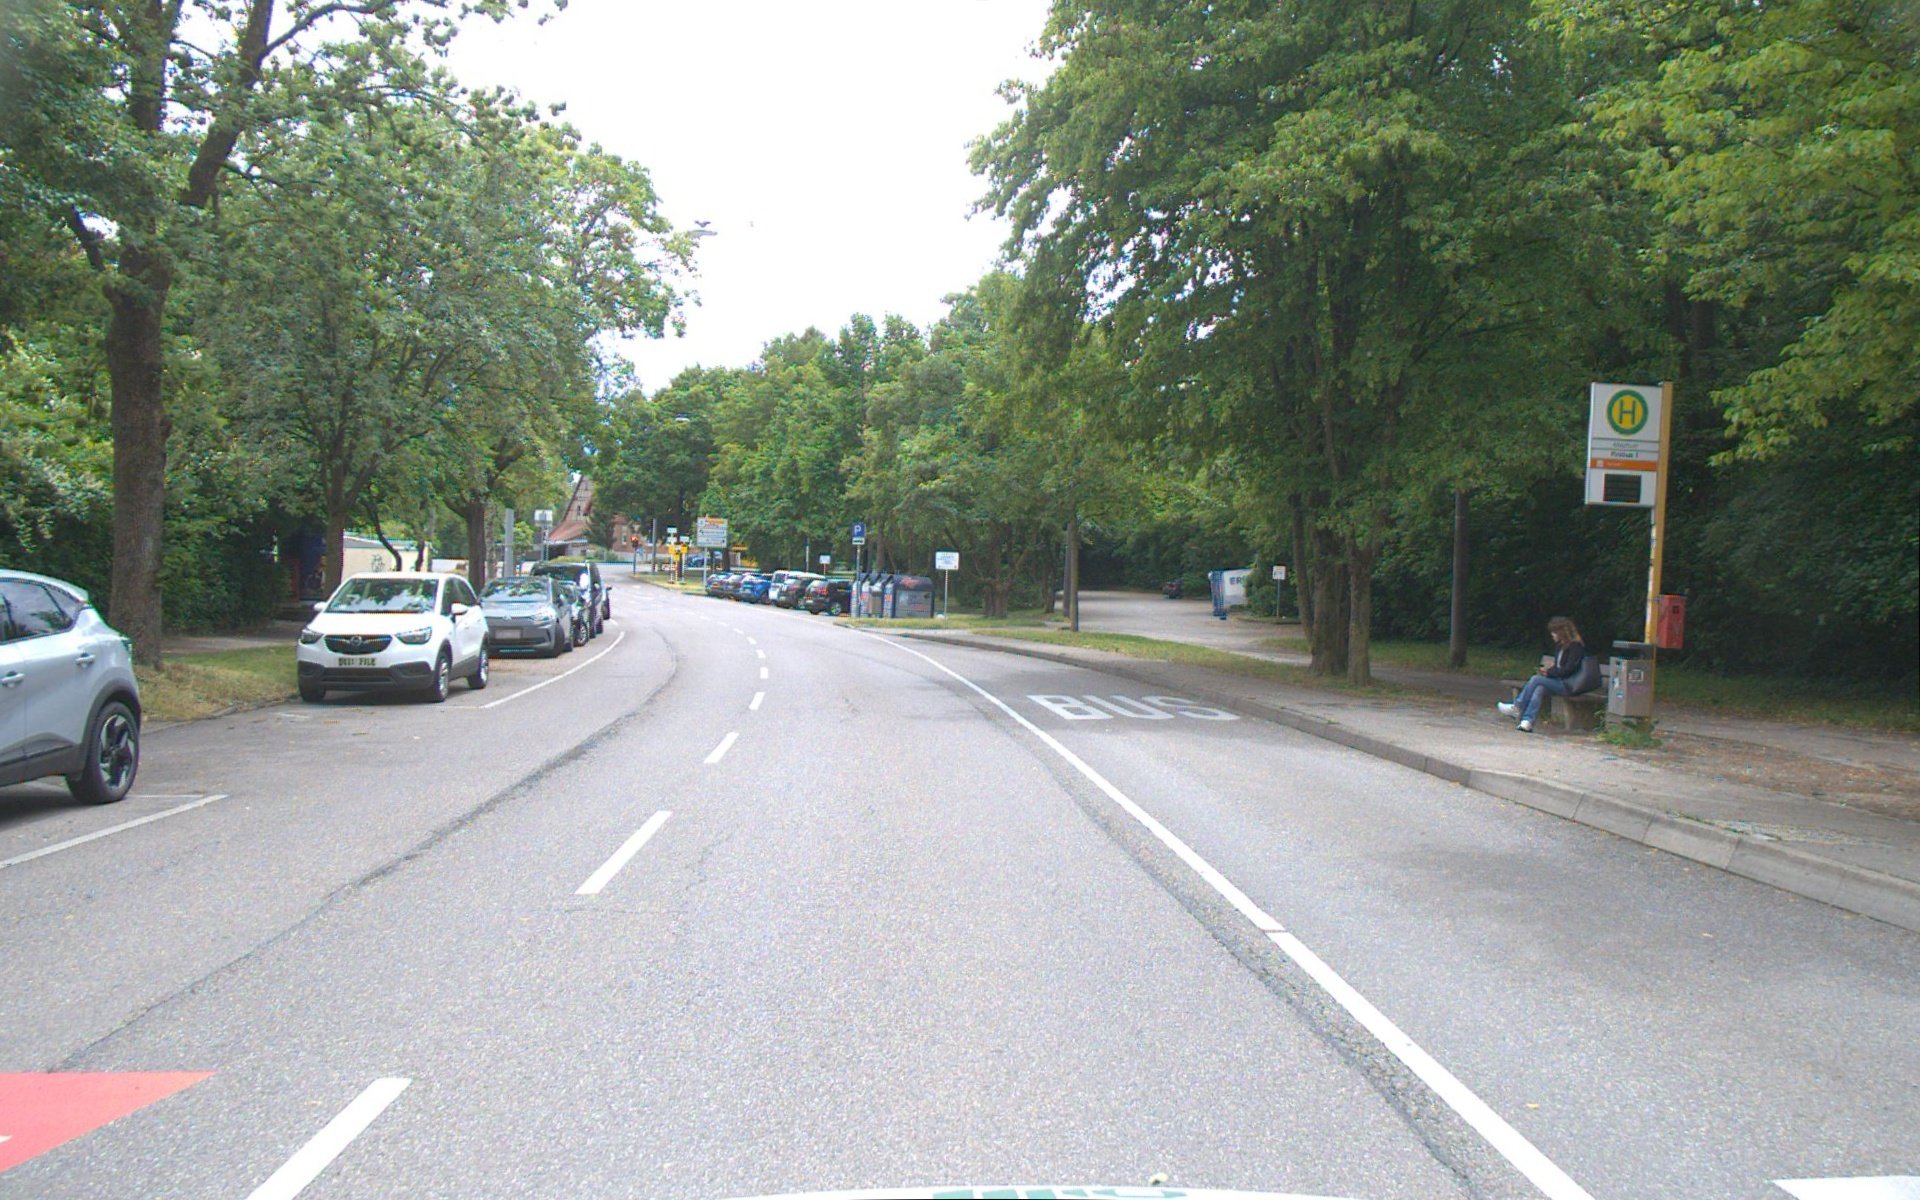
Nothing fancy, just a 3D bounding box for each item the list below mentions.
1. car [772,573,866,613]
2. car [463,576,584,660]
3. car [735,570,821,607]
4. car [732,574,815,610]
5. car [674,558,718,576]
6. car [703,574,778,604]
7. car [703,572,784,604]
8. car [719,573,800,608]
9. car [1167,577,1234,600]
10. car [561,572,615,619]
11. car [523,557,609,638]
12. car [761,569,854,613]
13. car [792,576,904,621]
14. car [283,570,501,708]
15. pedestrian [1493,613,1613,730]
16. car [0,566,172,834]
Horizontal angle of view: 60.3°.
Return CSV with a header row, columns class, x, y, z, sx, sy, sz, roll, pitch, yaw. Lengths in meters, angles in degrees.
class,x,y,z,sx,sy,sz,roll,pitch,yaw
car,-6.290,-0.300,74.028,3.787,1.493,1.725,4,0,-36
car,-8.679,0.318,33.189,1.831,1.565,4.220,1,1,-8
car,-8.904,-0.567,80.980,3.787,1.555,1.725,4,-1,-36
car,-9.432,-0.385,83.862,3.787,1.555,1.725,4,-1,-36
car,-26.133,-3.266,163.486,3.817,1.676,1.974,0,2,-37
car,-12.375,-0.612,93.351,3.787,1.450,1.725,4,-1,-36
car,-11.595,-0.655,88.613,3.841,1.451,1.808,4,-1,-36
car,-10.379,-0.497,85.694,3.787,1.555,1.725,4,-1,-36
car,15.707,-0.752,108.097,3.915,1.434,1.796,1,1,-10
car,-13.434,-0.182,59.594,1.774,1.590,4.251,-2,1,-14
car,-10.199,-0.093,43.080,1.824,1.942,5.071,1,1,-10
car,-7.046,-0.408,76.612,3.787,1.750,1.855,4,-1,-36
car,-4.457,-0.068,65.934,3.954,1.438,2.033,4,1,-36
car,-7.229,0.436,21.459,1.701,1.606,4.137,0,1,-5
pedestrian,6.298,0.751,17.595,1.043,1.203,0.579,1,0,-8
car,-6.442,0.577,9.746,1.700,1.565,4.188,0,1,-2
